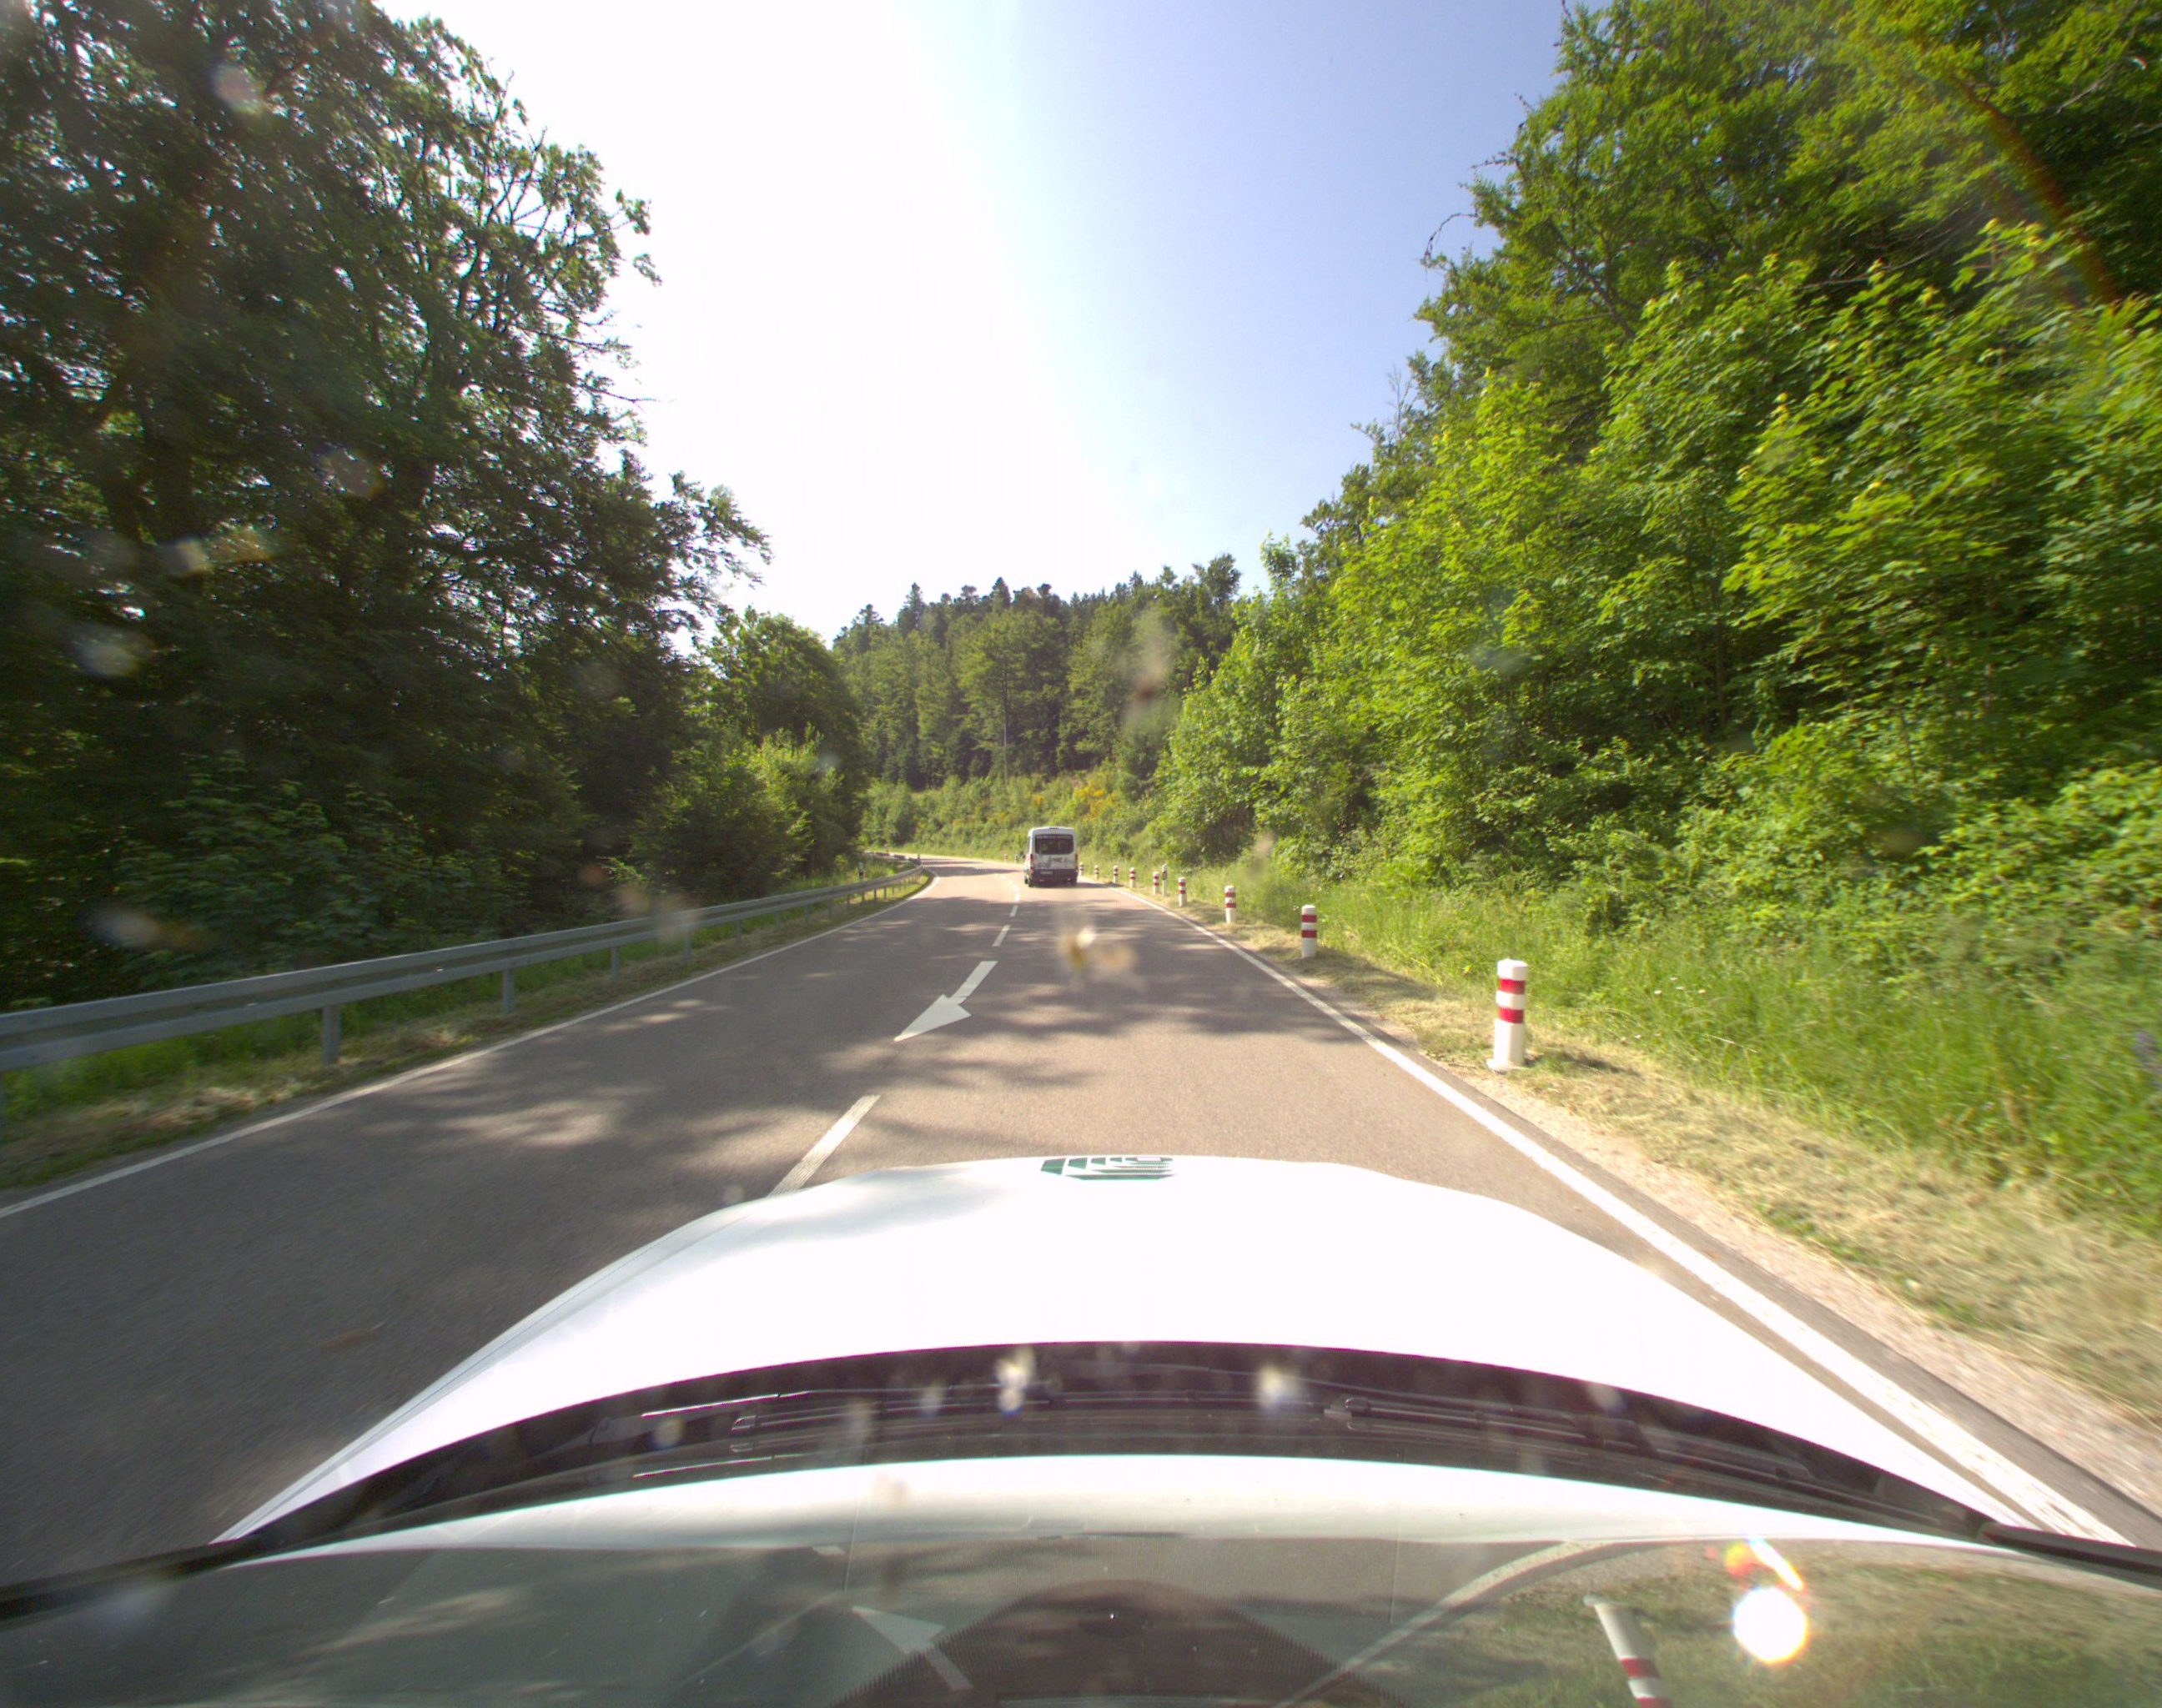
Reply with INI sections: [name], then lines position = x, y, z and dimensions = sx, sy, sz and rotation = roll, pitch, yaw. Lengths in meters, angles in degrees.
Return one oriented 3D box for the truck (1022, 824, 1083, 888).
[truck]
position = -1.330, 0.059, 35.269
dimensions = 2.114, 2.498, 5.345
rotation = -1, 0, -8
